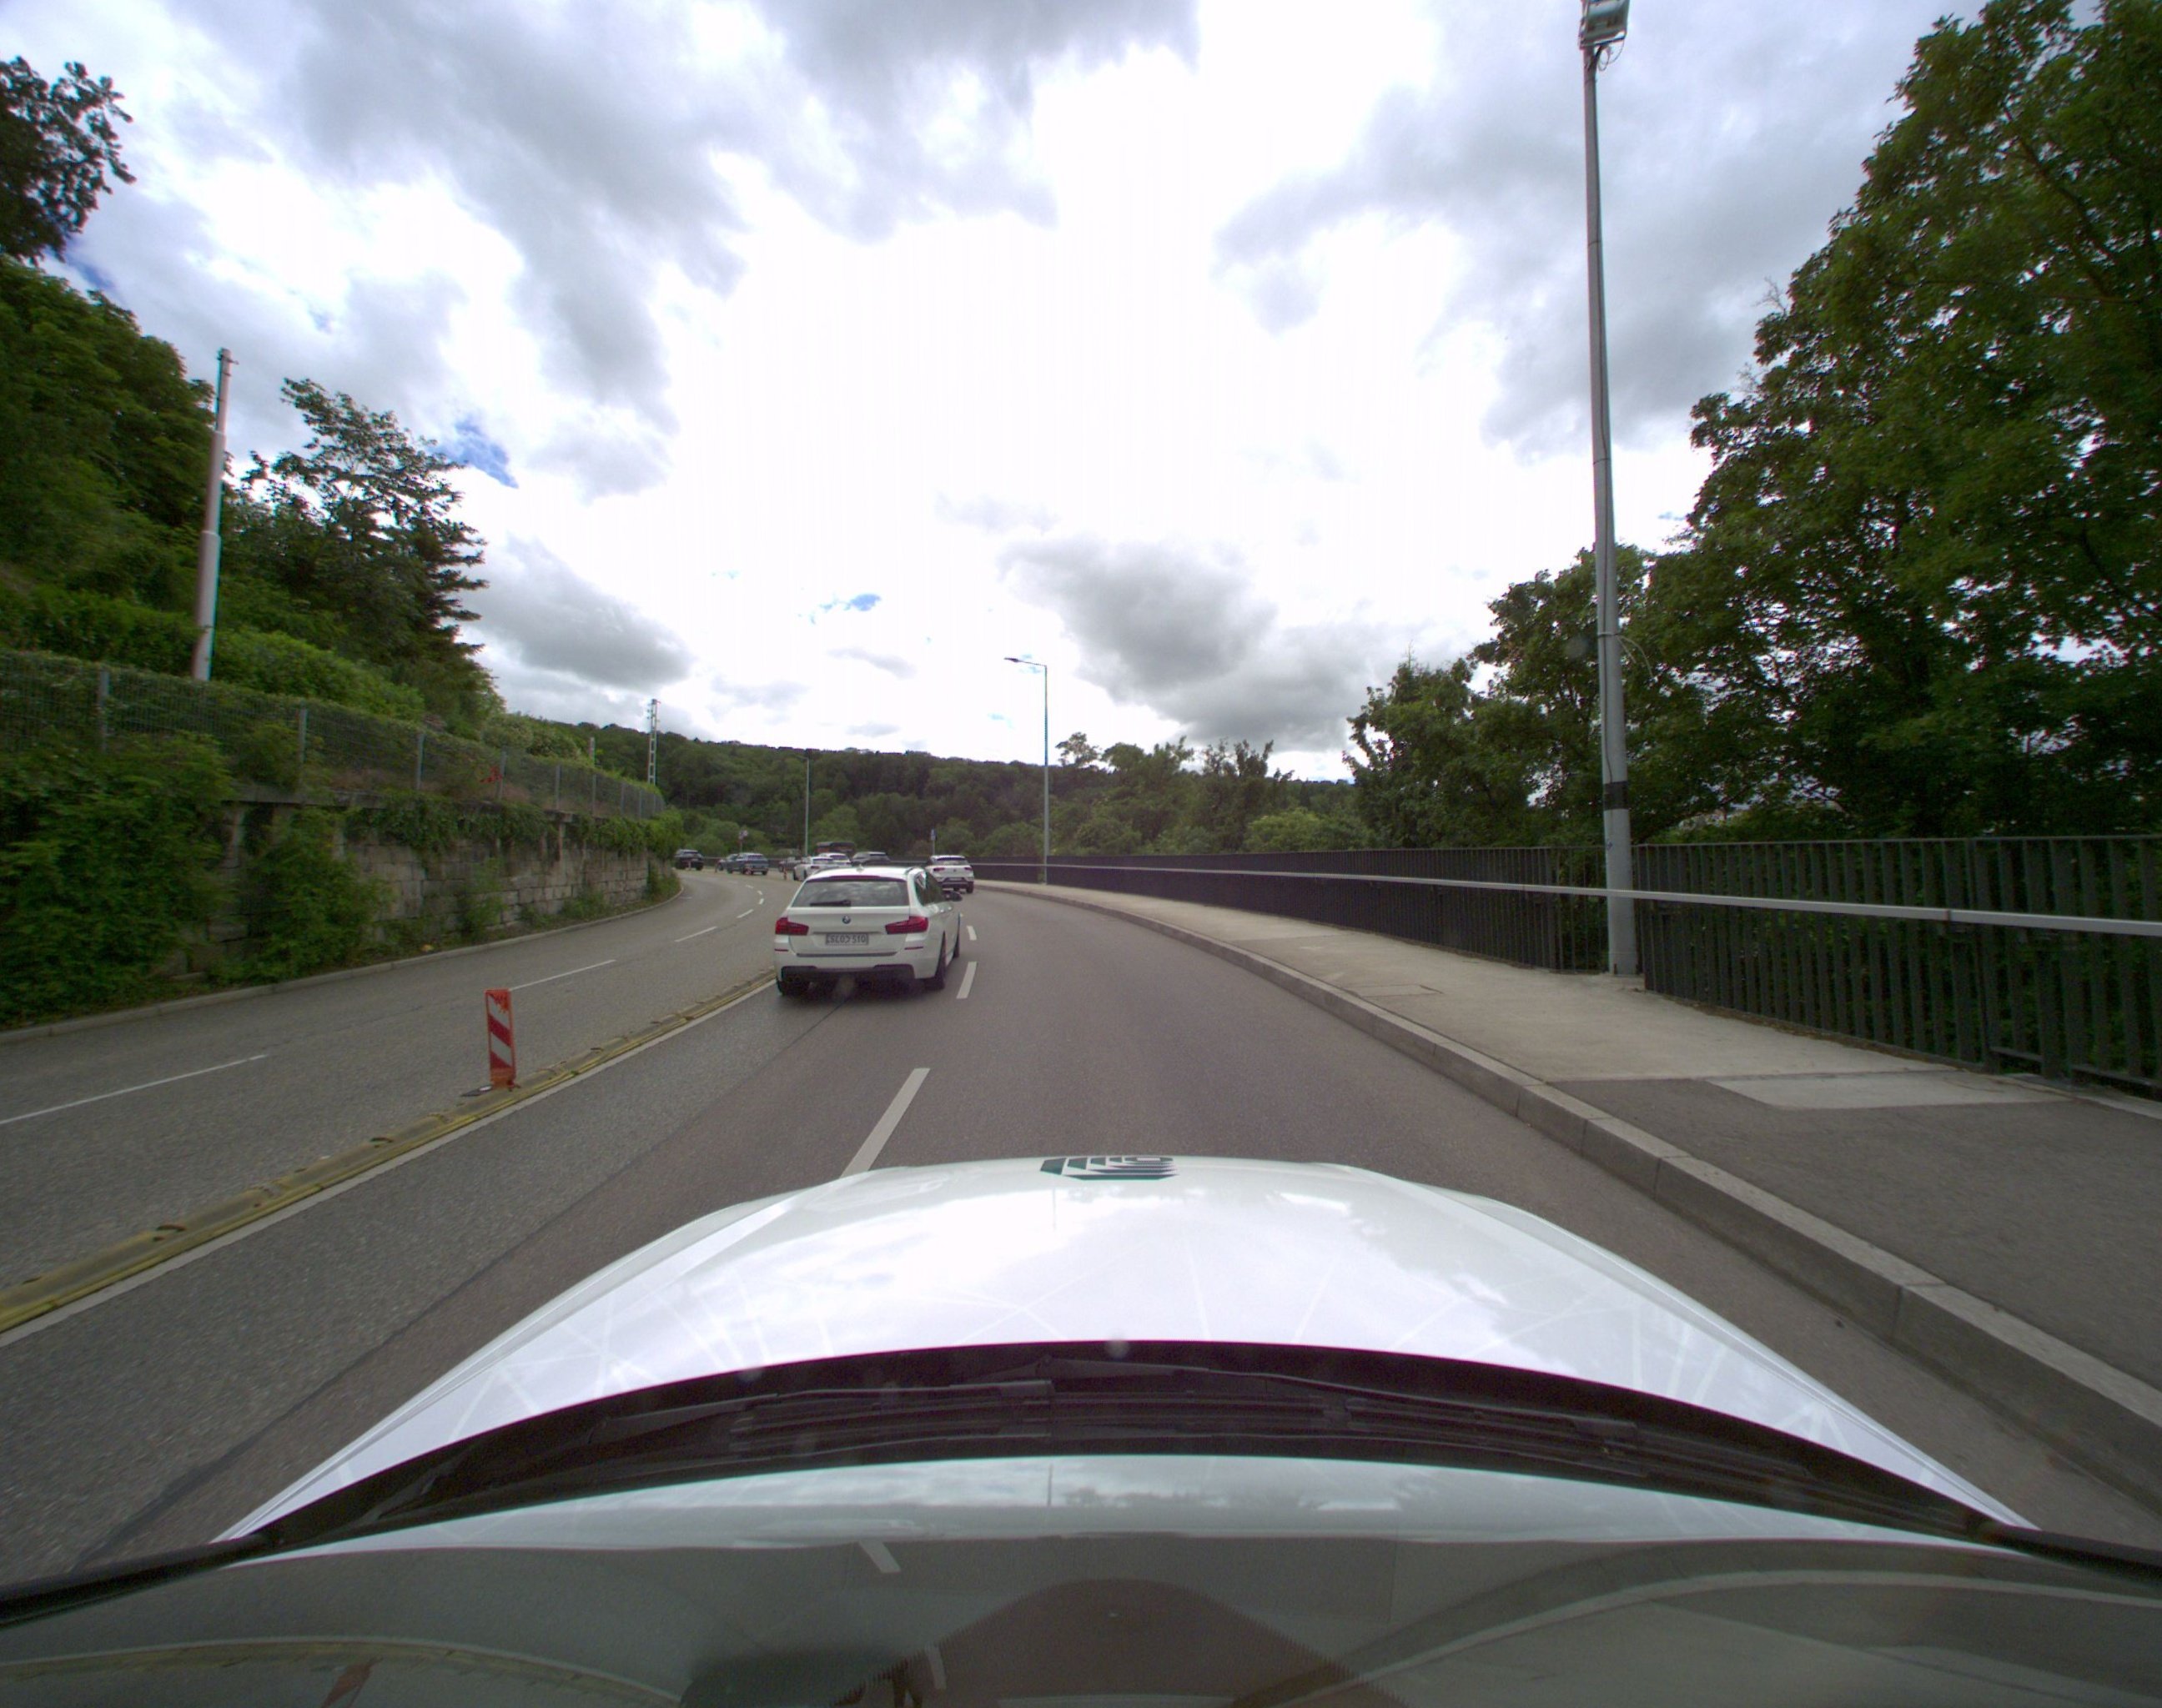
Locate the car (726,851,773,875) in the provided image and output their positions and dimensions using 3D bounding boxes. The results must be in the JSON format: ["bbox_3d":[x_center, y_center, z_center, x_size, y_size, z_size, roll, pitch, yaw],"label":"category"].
[{"bbox_3d":[-23.940,0.666,58.714,2.010,1.648,3.953,-2,0,-39],"label":"car"}]

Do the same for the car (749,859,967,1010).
[{"bbox_3d":[-2.593,0.840,10.602,1.824,1.459,4.480,-2,0,-4],"label":"car"}]

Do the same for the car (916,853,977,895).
[{"bbox_3d":[-5.738,0.824,34.330,1.834,1.605,3.974,-2,0,-19],"label":"car"}]

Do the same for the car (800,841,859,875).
[{"bbox_3d":[-19.565,0.261,63.275,2.185,2.521,5.702,-2,1,-41],"label":"car"}]

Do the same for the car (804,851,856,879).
[{"bbox_3d":[-16.678,0.752,53.918,2.009,1.718,4.067,-2,0,-37],"label":"car"}]

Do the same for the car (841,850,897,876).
[{"bbox_3d":[-15.112,0.630,57.797,2.010,1.718,4.991,-1,0,-38],"label":"car"}]

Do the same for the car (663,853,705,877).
[{"bbox_3d":[-32.708,0.934,67.088,3.949,1.762,1.887,-4,-4,44],"label":"car"}]

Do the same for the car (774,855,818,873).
[{"bbox_3d":[-23.494,0.840,67.089,3.801,1.431,1.730,0,-1,41],"label":"car"}]

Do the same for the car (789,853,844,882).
[{"bbox_3d":[-15.485,0.785,47.550,2.007,1.503,4.621,-2,0,-31],"label":"car"}]
